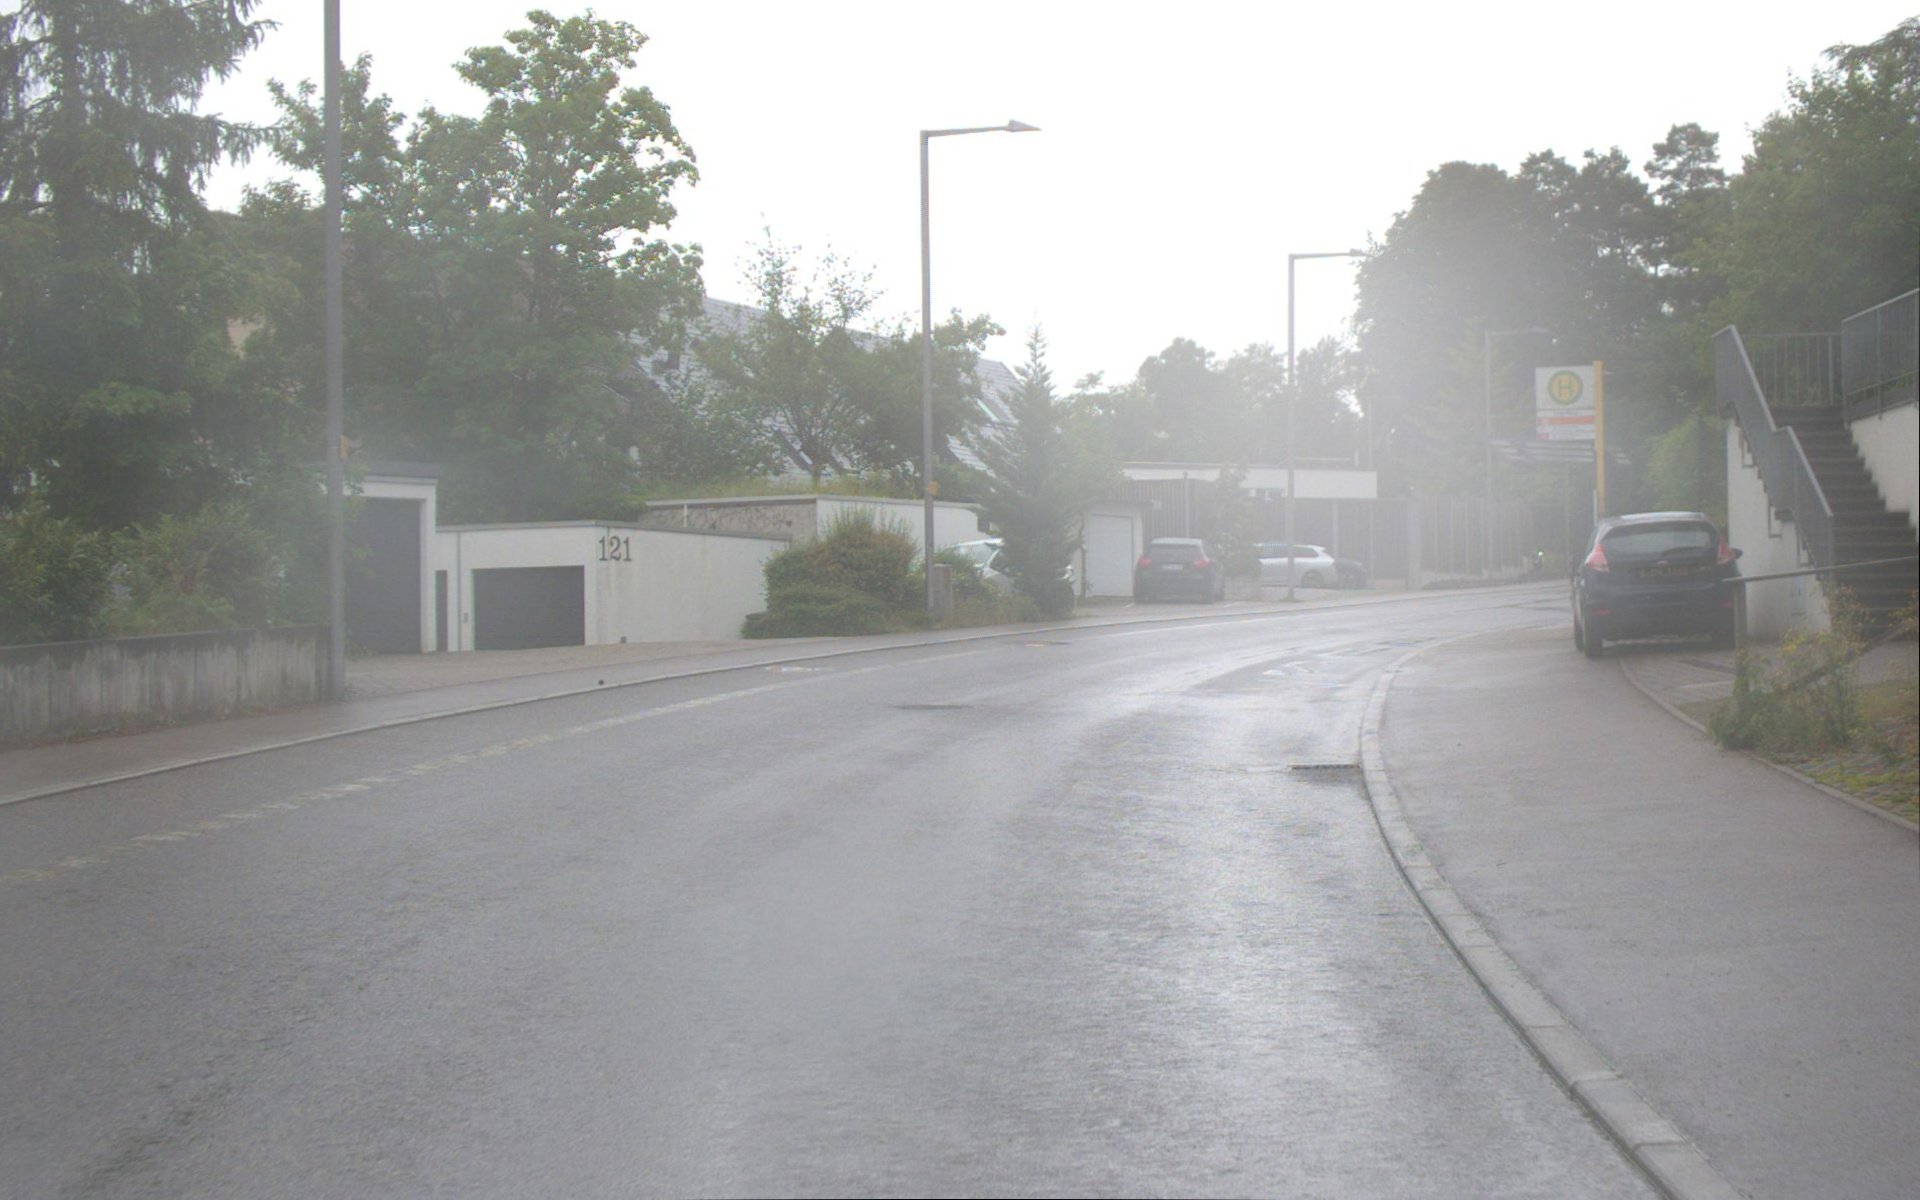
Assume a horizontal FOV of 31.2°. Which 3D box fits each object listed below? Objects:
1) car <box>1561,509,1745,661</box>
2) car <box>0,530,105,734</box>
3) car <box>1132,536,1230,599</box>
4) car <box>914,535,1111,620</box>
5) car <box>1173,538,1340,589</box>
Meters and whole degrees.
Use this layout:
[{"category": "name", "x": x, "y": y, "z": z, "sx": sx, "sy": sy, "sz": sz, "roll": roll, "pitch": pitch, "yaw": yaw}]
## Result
[{"category": "car", "x": 7.417, "y": -0.185, "z": 37.076, "sx": 1.705, "sy": 1.449, "sz": 4.019, "roll": -3, "pitch": 0, "yaw": 9}, {"category": "car", "x": -8.192, "y": 0.255, "z": 26.109, "sx": 1.735, "sy": 1.546, "sz": 3.998, "roll": -1, "pitch": 1, "yaw": 11}, {"category": "car", "x": 5.086, "y": -0.765, "z": 78.601, "sx": 1.834, "sy": 1.401, "sz": 4.258, "roll": 0, "pitch": 1, "yaw": 9}, {"category": "car", "x": 1.041, "y": -0.456, "z": 65.357, "sx": 1.708, "sy": 1.548, "sz": 4.381, "roll": 0, "pitch": 1, "yaw": 32}, {"category": "car", "x": 8.659, "y": -1.067, "z": 100.444, "sx": 4.517, "sy": 1.437, "sz": 1.762, "roll": 0, "pitch": 1, "yaw": -21}]
